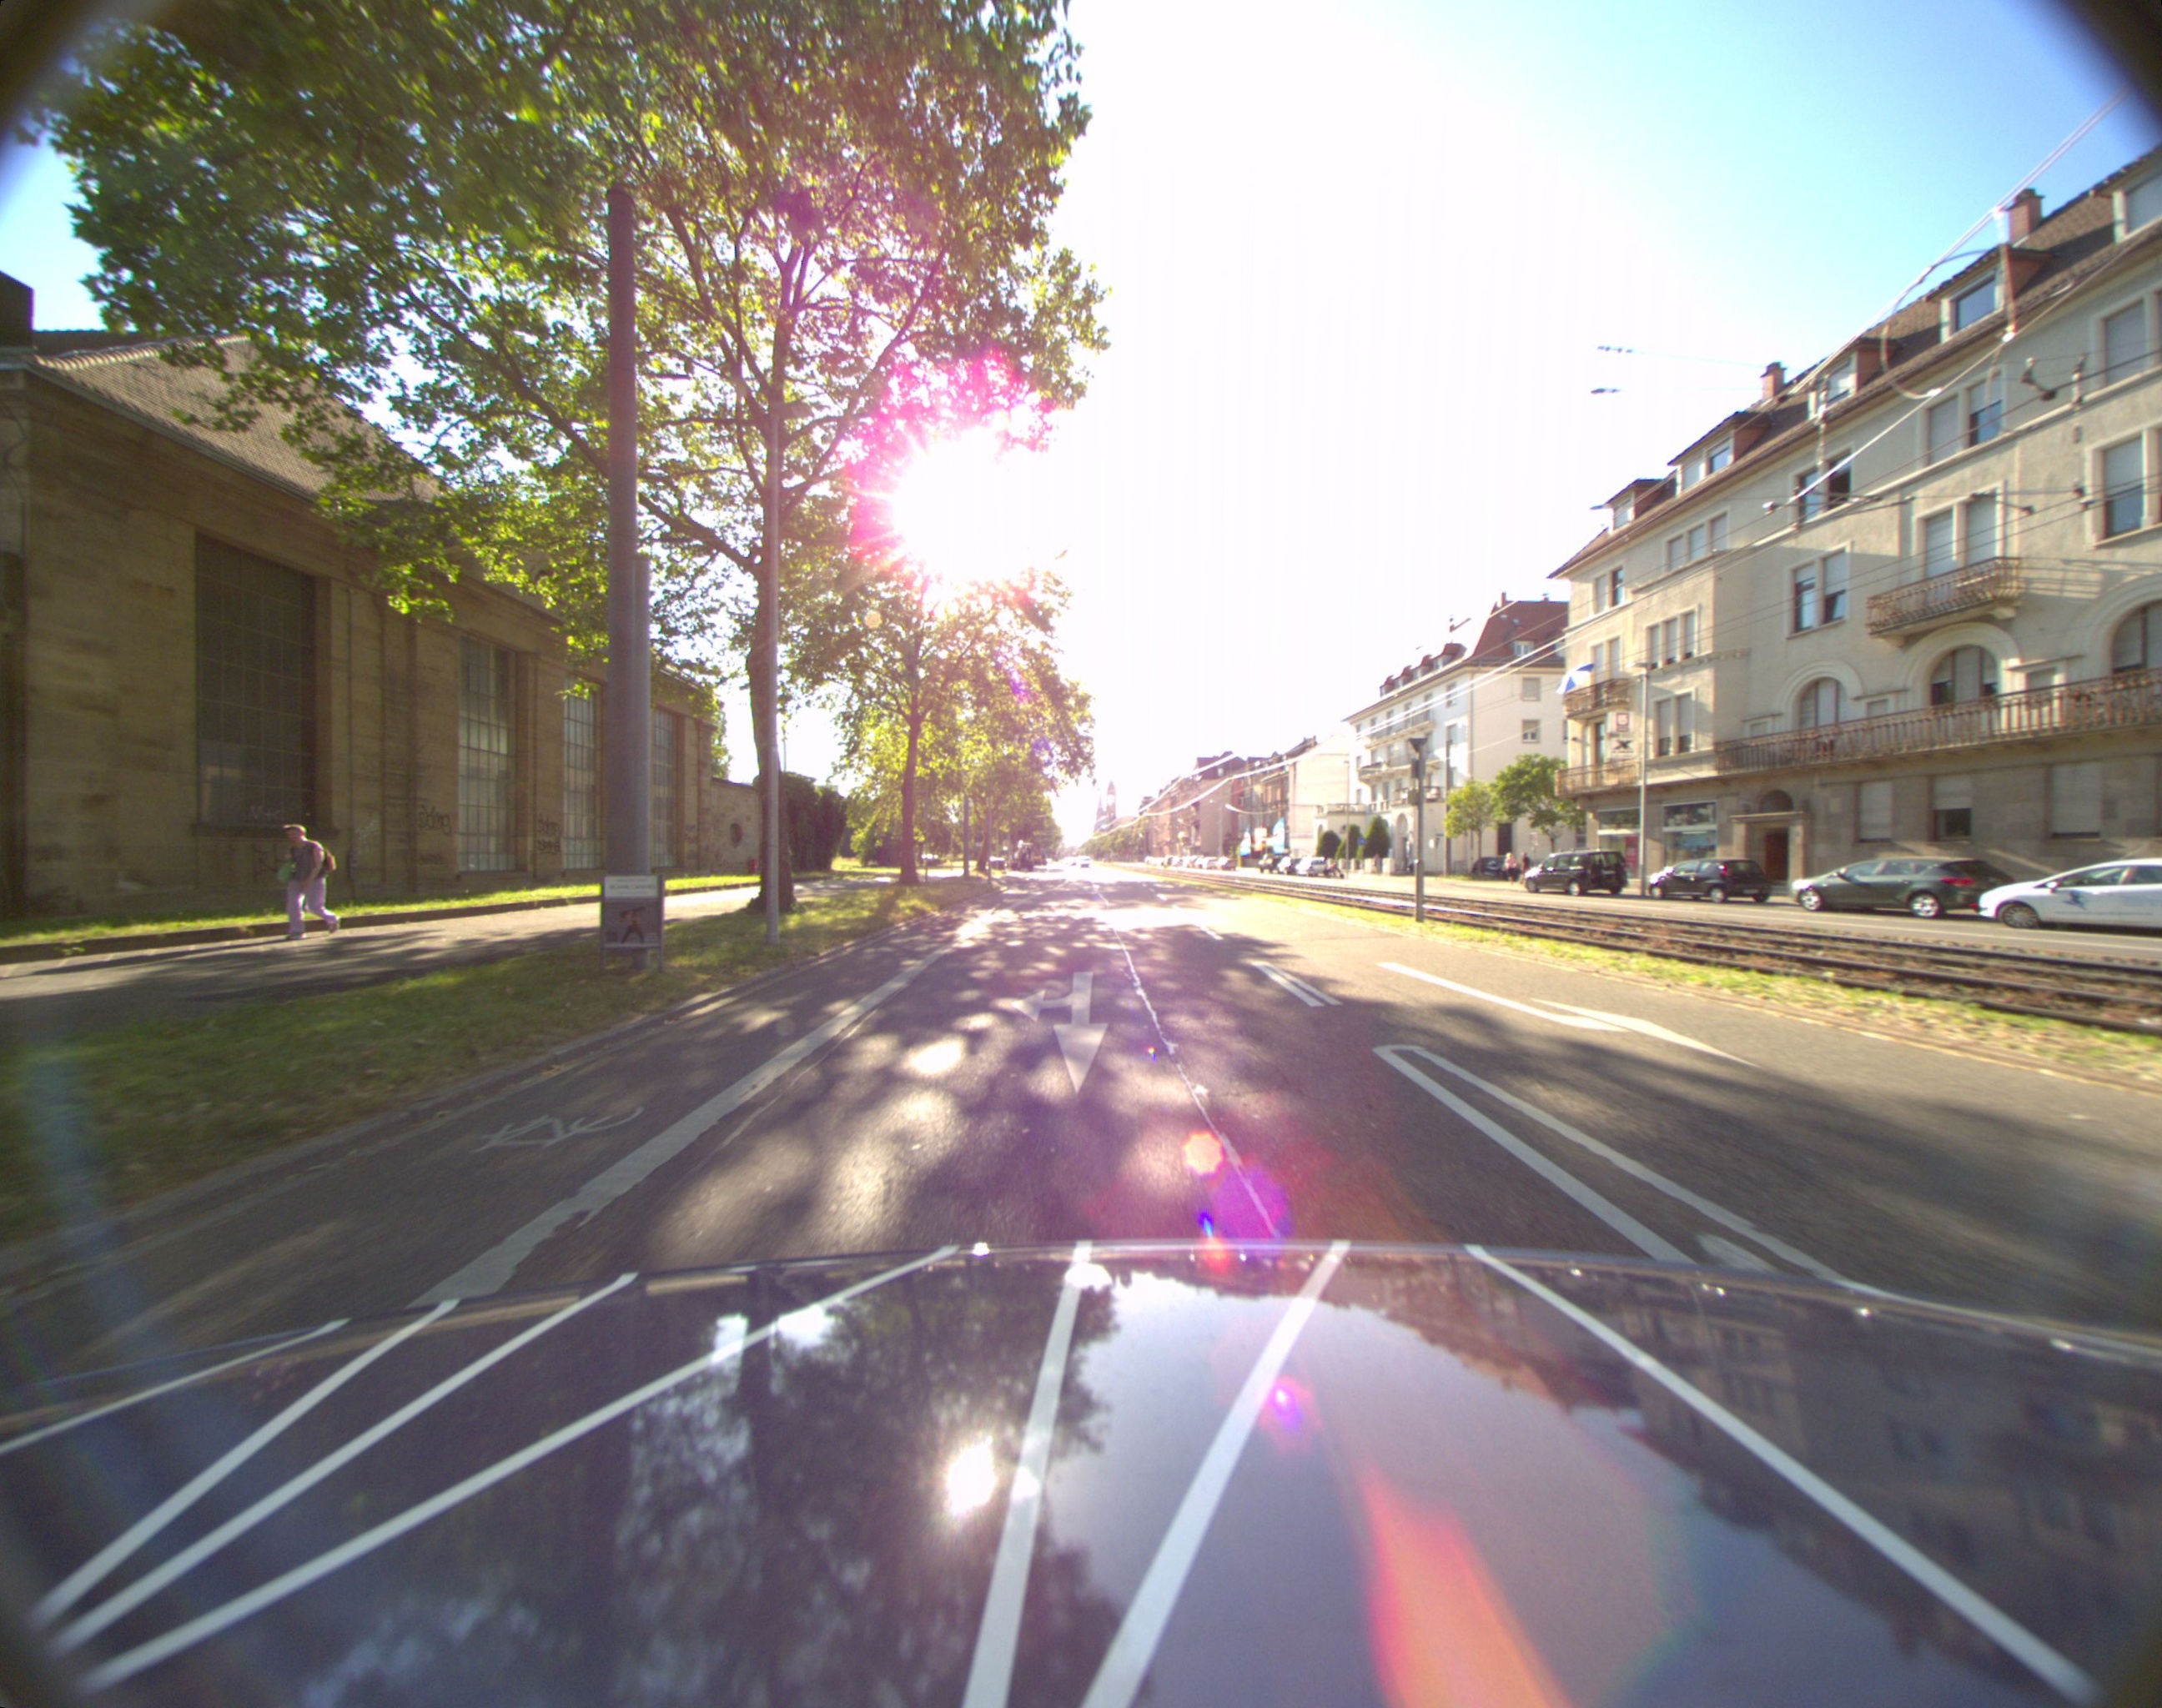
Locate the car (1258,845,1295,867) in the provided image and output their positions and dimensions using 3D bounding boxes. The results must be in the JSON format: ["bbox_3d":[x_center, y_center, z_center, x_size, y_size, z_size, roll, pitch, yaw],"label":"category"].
[{"bbox_3d":[19.198,0.192,74.907,2.082,1.998,5.591,-2,0,0],"label":"car"}]

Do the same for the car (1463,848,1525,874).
[{"bbox_3d":[28.573,0.460,52.684,1.799,1.631,4.259,0,2,-2],"label":"car"}]

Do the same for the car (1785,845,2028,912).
[{"bbox_3d":[21.122,0.559,19.742,1.639,1.460,4.157,-4,0,-2],"label":"car"}]

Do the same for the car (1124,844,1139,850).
[{"bbox_3d":[14.294,-1.929,216.014,3.991,1.502,1.802,-2,1,19],"label":"car"}]

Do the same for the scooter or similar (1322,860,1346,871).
[{"bbox_3d":[18.743,0.874,56.378,1.565,0.766,0.810,0,0,29],"label":"scooter or similar"}]

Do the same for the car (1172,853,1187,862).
[{"bbox_3d":[17.282,0.580,133.494,1.926,1.529,4.626,-1,0,-2],"label":"car"}]

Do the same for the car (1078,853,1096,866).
[{"bbox_3d":[0.676,0.631,88.550,1.799,1.501,3.999,-2,0,-2],"label":"car"}]

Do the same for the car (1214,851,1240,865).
[{"bbox_3d":[18.101,0.478,94.392,1.926,1.452,4.840,-6,0,-4],"label":"car"}]

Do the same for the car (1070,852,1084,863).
[{"bbox_3d":[-0.587,0.545,112.064,1.799,1.501,3.999,-2,0,-2],"label":"car"}]

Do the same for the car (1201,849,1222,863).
[{"bbox_3d":[17.792,0.268,103.709,1.925,1.684,4.842,-2,0,0],"label":"car"}]

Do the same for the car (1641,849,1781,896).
[{"bbox_3d":[21.142,0.569,25.686,1.632,1.383,3.507,-4,0,-3],"label":"car"}]

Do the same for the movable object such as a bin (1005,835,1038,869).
[{"bbox_3d":[-5.952,-0.180,77.508,2.751,3.127,7.218,3,0,-1],"label":"movable object such as a bin"}]

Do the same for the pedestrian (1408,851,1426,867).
[{"bbox_3d":[25.415,0.385,57.479,0.879,1.180,0.894,-2,1,-10],"label":"pedestrian"}]

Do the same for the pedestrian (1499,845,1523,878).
[{"bbox_3d":[22.485,0.367,39.734,0.592,1.687,0.855,-3,2,-28],"label":"pedestrian"}]

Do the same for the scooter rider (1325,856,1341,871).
[{"bbox_3d":[18.706,0.682,56.393,0.976,1.082,0.809,1,0,29],"label":"scooter rider"}]

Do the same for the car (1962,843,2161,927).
[{"bbox_3d":[20.805,0.573,15.125,1.640,1.460,3.980,-4,0,-8],"label":"car"}]

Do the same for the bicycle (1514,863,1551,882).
[{"bbox_3d":[25.825,1.063,43.481,0.685,1.010,2.413,-2,0,0],"label":"bicycle"}]

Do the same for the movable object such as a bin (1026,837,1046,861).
[{"bbox_3d":[-8.203,-0.883,136.926,3.348,3.953,7.595,2,0,-4],"label":"movable object such as a bin"}]

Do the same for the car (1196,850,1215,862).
[{"bbox_3d":[17.883,0.323,109.500,1.925,1.551,4.843,-3,-1,0],"label":"car"}]

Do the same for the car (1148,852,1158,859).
[{"bbox_3d":[15.741,0.248,166.103,1.664,1.437,3.764,-2,0,-2],"label":"car"}]

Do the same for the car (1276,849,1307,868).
[{"bbox_3d":[18.968,0.390,68.593,1.639,1.499,4.158,-2,1,0],"label":"car"}]

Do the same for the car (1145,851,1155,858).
[{"bbox_3d":[15.497,0.102,170.916,1.799,1.633,4.630,-2,0,0],"label":"car"}]

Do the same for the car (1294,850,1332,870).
[{"bbox_3d":[19.219,0.440,63.085,1.799,1.502,3.999,-2,1,-1],"label":"car"}]

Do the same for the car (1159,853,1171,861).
[{"bbox_3d":[16.086,0.497,145.304,1.664,1.437,3.980,-2,0,-2],"label":"car"}]

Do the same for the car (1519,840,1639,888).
[{"bbox_3d":[20.485,0.395,31.506,1.867,1.776,4.400,-2,0,-3],"label":"car"}]

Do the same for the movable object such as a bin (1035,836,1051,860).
[{"bbox_3d":[-7.883,-1.201,156.864,2.923,4.583,7.595,2,0,-4],"label":"movable object such as a bin"}]

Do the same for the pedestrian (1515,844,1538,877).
[{"bbox_3d":[23.338,0.333,39.802,0.592,1.687,0.855,-3,2,-28],"label":"pedestrian"}]

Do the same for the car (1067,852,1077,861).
[{"bbox_3d":[-1.639,0.494,138.818,1.799,1.501,3.999,-2,0,-2],"label":"car"}]

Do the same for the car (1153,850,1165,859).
[{"bbox_3d":[15.941,0.105,154.787,1.799,1.797,3.998,-2,0,-3],"label":"car"}]

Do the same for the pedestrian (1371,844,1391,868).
[{"bbox_3d":[22.972,0.160,58.188,0.995,1.767,0.934,-3,2,-16],"label":"pedestrian"}]

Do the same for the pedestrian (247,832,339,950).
[{"bbox_3d":[-11.624,0.532,11.224,0.609,1.672,0.636,4,0,-4],"label":"pedestrian"}]

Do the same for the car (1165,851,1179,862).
[{"bbox_3d":[16.768,0.441,139.969,1.664,1.797,4.726,-2,0,-3],"label":"car"}]
